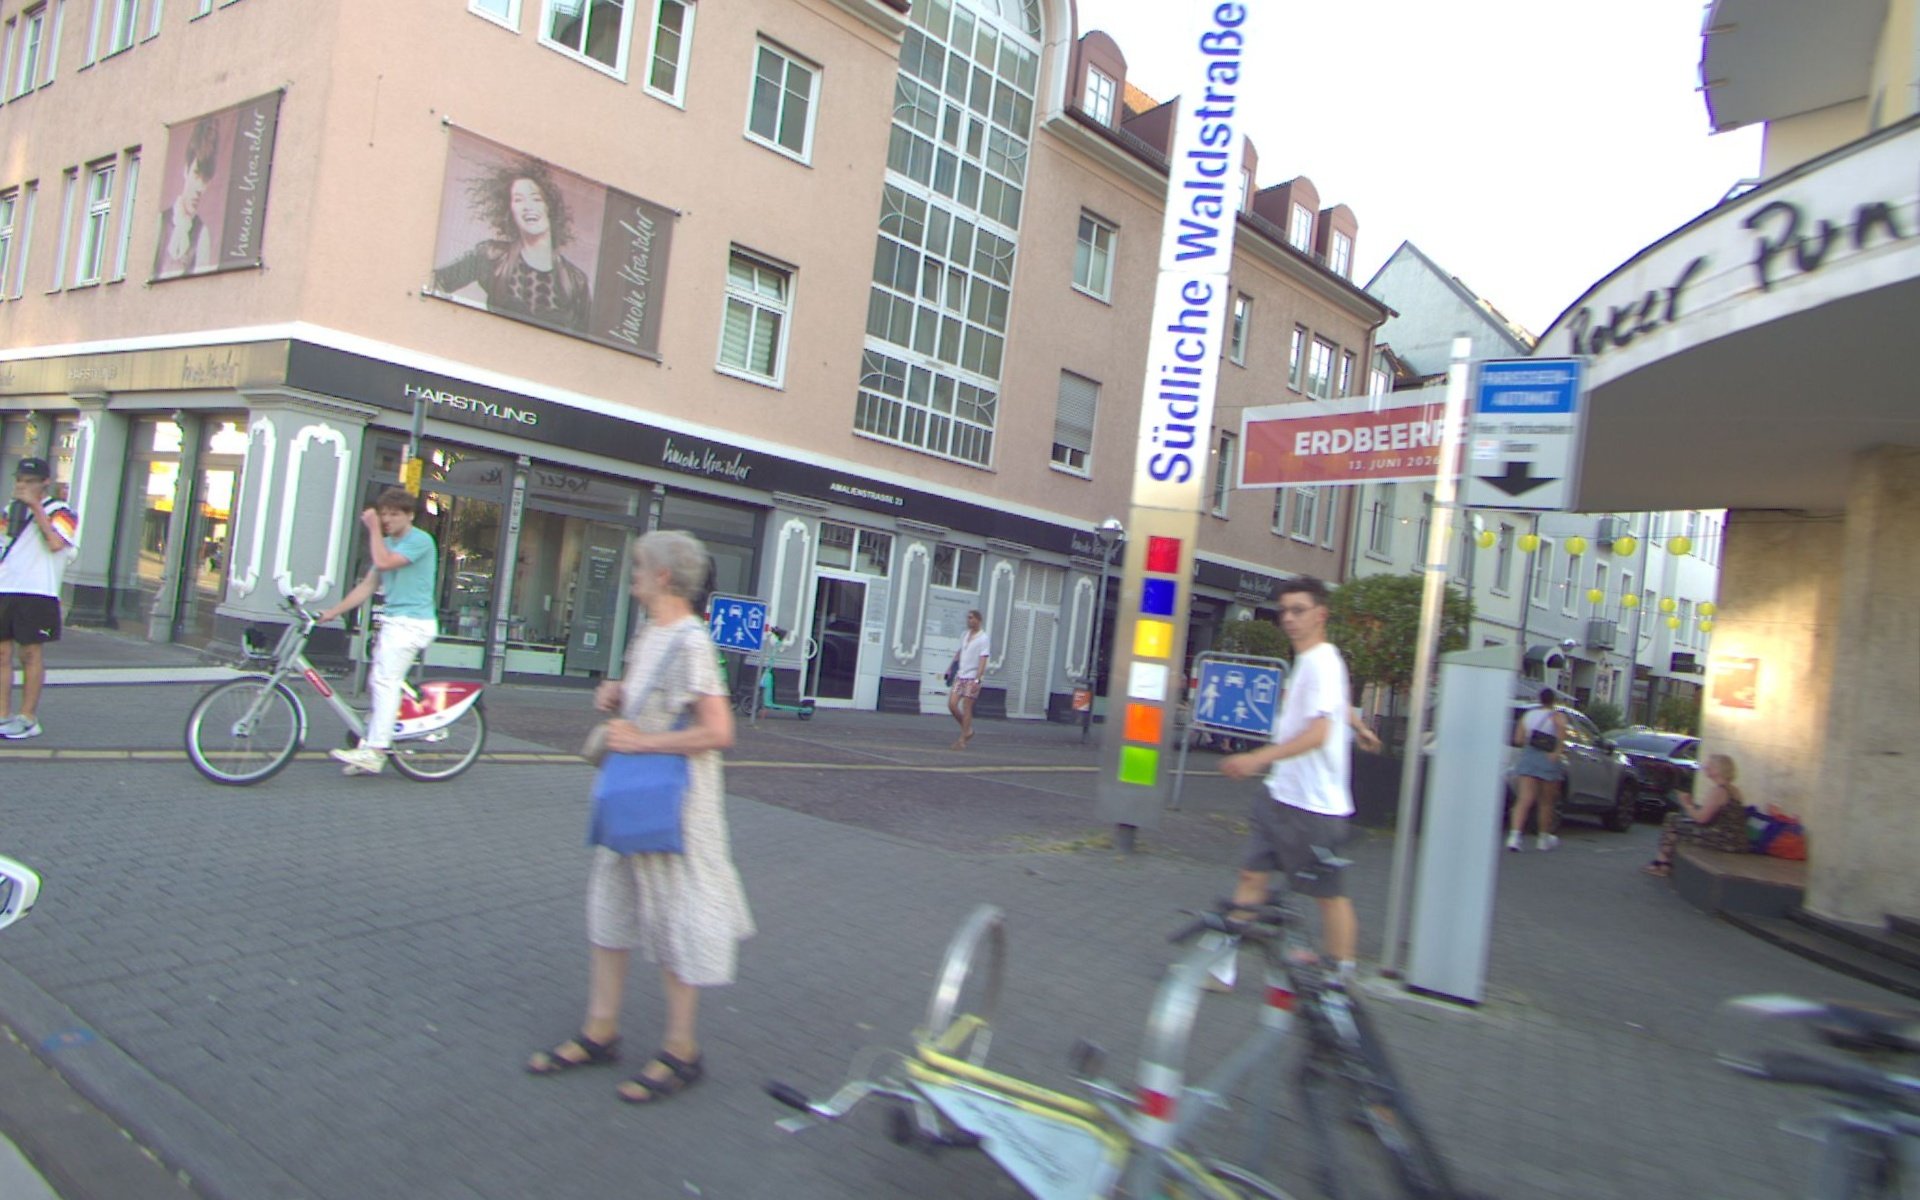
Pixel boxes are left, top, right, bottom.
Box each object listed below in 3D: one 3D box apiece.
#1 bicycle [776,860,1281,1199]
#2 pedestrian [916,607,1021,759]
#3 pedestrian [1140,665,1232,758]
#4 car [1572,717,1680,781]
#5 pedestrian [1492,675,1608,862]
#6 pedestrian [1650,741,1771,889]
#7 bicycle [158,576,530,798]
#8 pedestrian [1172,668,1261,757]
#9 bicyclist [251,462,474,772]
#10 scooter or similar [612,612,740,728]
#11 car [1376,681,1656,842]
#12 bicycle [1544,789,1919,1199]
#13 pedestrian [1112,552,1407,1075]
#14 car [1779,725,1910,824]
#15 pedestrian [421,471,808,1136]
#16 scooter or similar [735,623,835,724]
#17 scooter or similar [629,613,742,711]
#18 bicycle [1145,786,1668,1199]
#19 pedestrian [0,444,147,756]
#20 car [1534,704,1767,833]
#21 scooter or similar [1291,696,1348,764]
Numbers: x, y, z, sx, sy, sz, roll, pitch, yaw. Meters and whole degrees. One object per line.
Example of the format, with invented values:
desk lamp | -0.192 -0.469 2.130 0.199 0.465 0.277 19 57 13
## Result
bicycle | 0.252 1.225 2.691 1.031 0.689 1.008 7 -1 22
pedestrian | 0.128 1.070 13.029 0.811 1.796 1.101 6 -1 24
pedestrian | 4.039 1.987 17.977 1.209 1.428 0.890 8 -1 32
car | 21.344 4.782 32.215 3.623 1.603 1.617 9 -2 -36
pedestrian | 5.899 1.658 10.060 0.745 1.688 0.730 6 -2 40
pedestrian | 6.966 1.970 9.339 0.633 1.198 0.697 8 -2 -42
bicycle | -3.928 0.571 6.555 0.782 1.200 1.819 6 -2 40
pedestrian | 4.791 2.085 18.769 1.209 1.428 0.890 8 -1 32
bicyclist | -3.878 0.113 6.542 0.819 1.847 0.833 6 -1 39
scooter or similar | -3.343 0.842 11.885 1.247 1.228 0.463 8 -1 -37
car | 7.404 2.107 13.254 3.960 1.610 1.816 9 -2 -40
bicycle | 1.498 1.085 1.702 0.628 1.254 1.849 7 -1 25
pedestrian | 1.276 0.795 4.197 0.856 1.838 0.825 6 -1 28
car | 22.930 4.492 26.024 3.973 2.107 1.897 9 -2 -41
pedestrian | -0.986 0.557 3.006 0.780 1.672 0.778 7 -1 -16
scooter or similar | -2.416 1.032 13.960 1.193 1.275 0.360 8 -1 -34
scooter or similar | -3.647 0.834 13.419 1.293 1.156 0.361 8 -1 -32
bicycle | 0.932 1.152 2.428 0.705 1.077 1.788 7 0 20
pedestrian | -6.270 -0.021 6.650 0.811 1.920 0.941 7 -1 -2
car | 11.493 2.775 16.643 4.409 1.603 1.925 9 -2 -39
scooter or similar | 7.341 2.643 20.589 0.388 1.198 1.304 7 -1 -10
